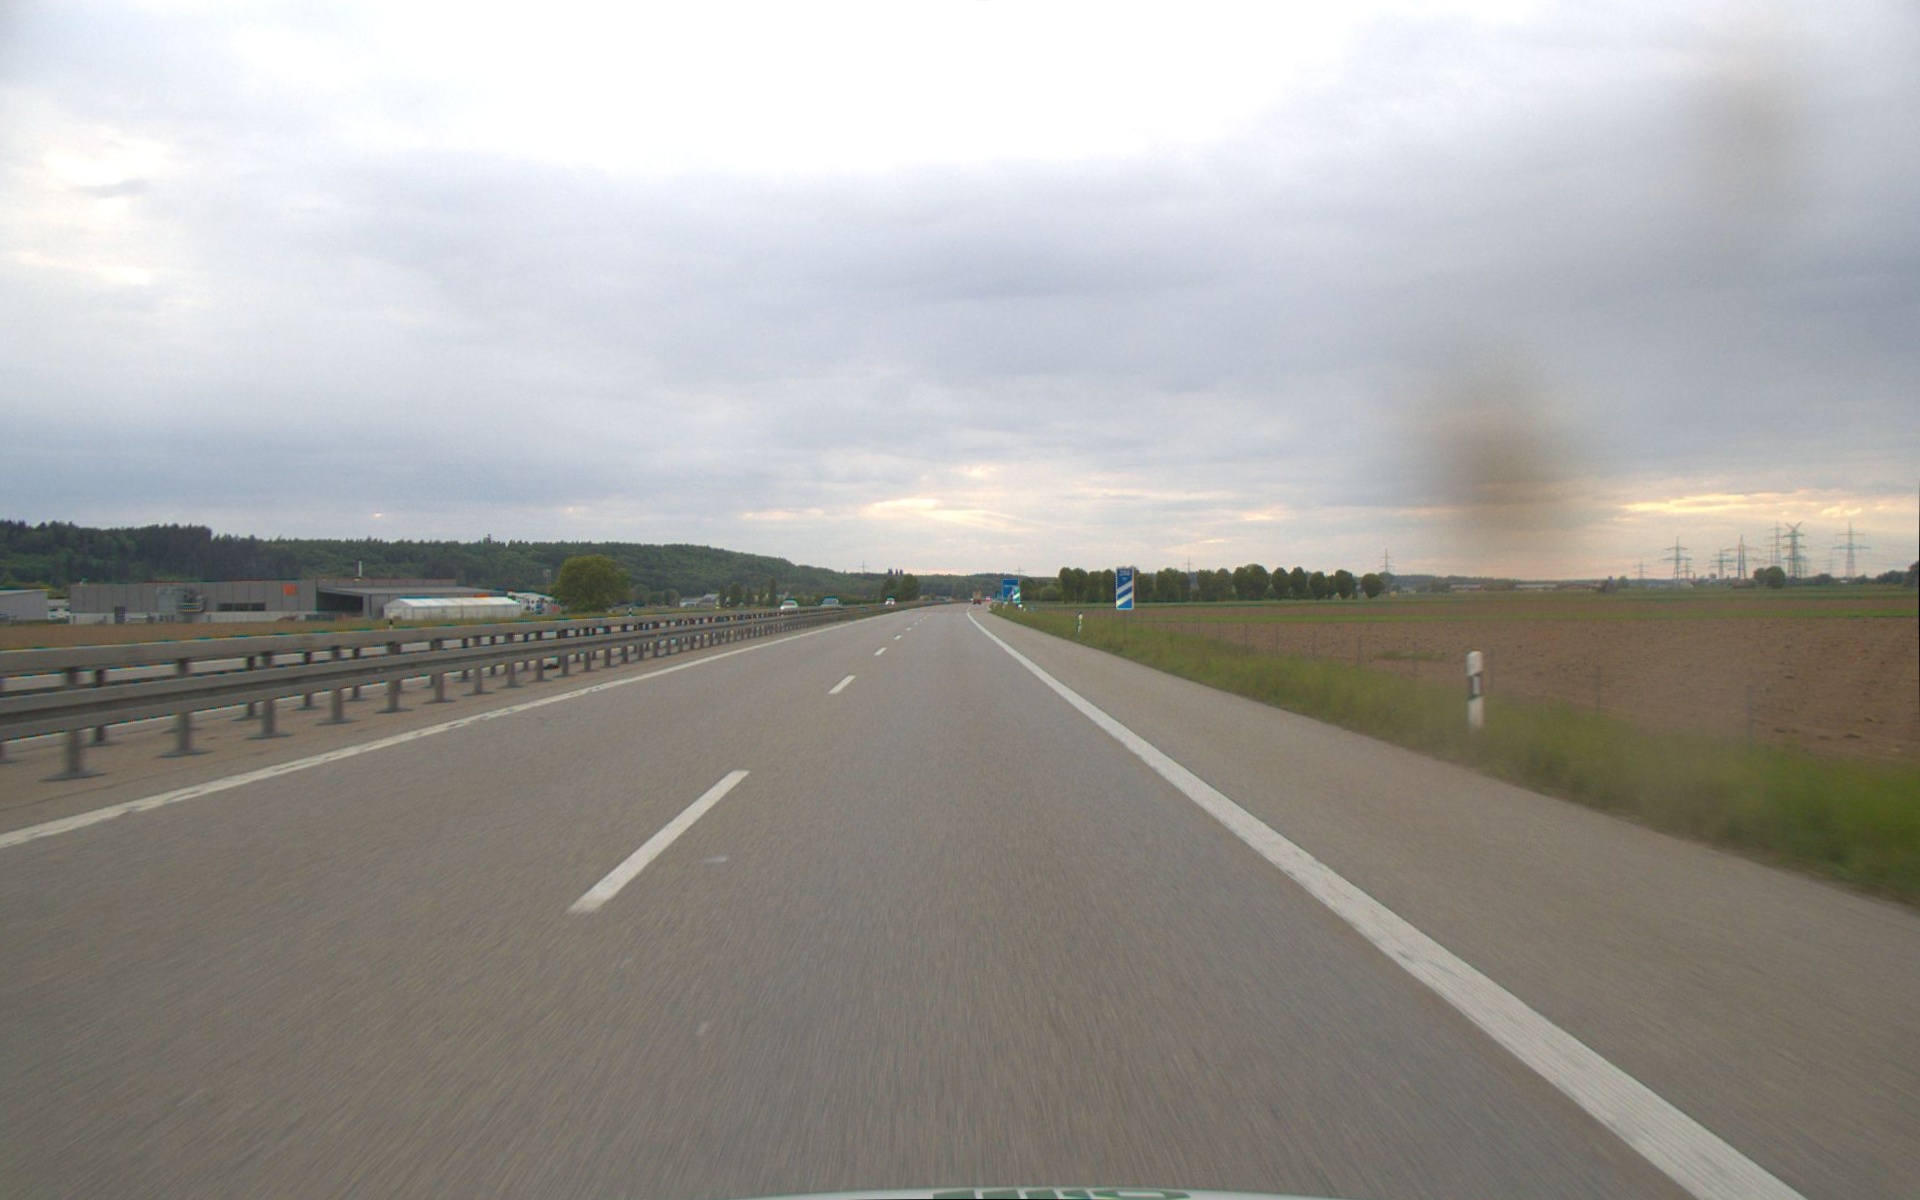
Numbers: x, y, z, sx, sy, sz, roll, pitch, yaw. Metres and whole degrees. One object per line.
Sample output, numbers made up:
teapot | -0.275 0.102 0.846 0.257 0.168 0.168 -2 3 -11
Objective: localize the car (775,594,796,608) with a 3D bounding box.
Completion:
car | -19.252 0.137 182.677 1.953 1.522 4.761 -1 0 -1
